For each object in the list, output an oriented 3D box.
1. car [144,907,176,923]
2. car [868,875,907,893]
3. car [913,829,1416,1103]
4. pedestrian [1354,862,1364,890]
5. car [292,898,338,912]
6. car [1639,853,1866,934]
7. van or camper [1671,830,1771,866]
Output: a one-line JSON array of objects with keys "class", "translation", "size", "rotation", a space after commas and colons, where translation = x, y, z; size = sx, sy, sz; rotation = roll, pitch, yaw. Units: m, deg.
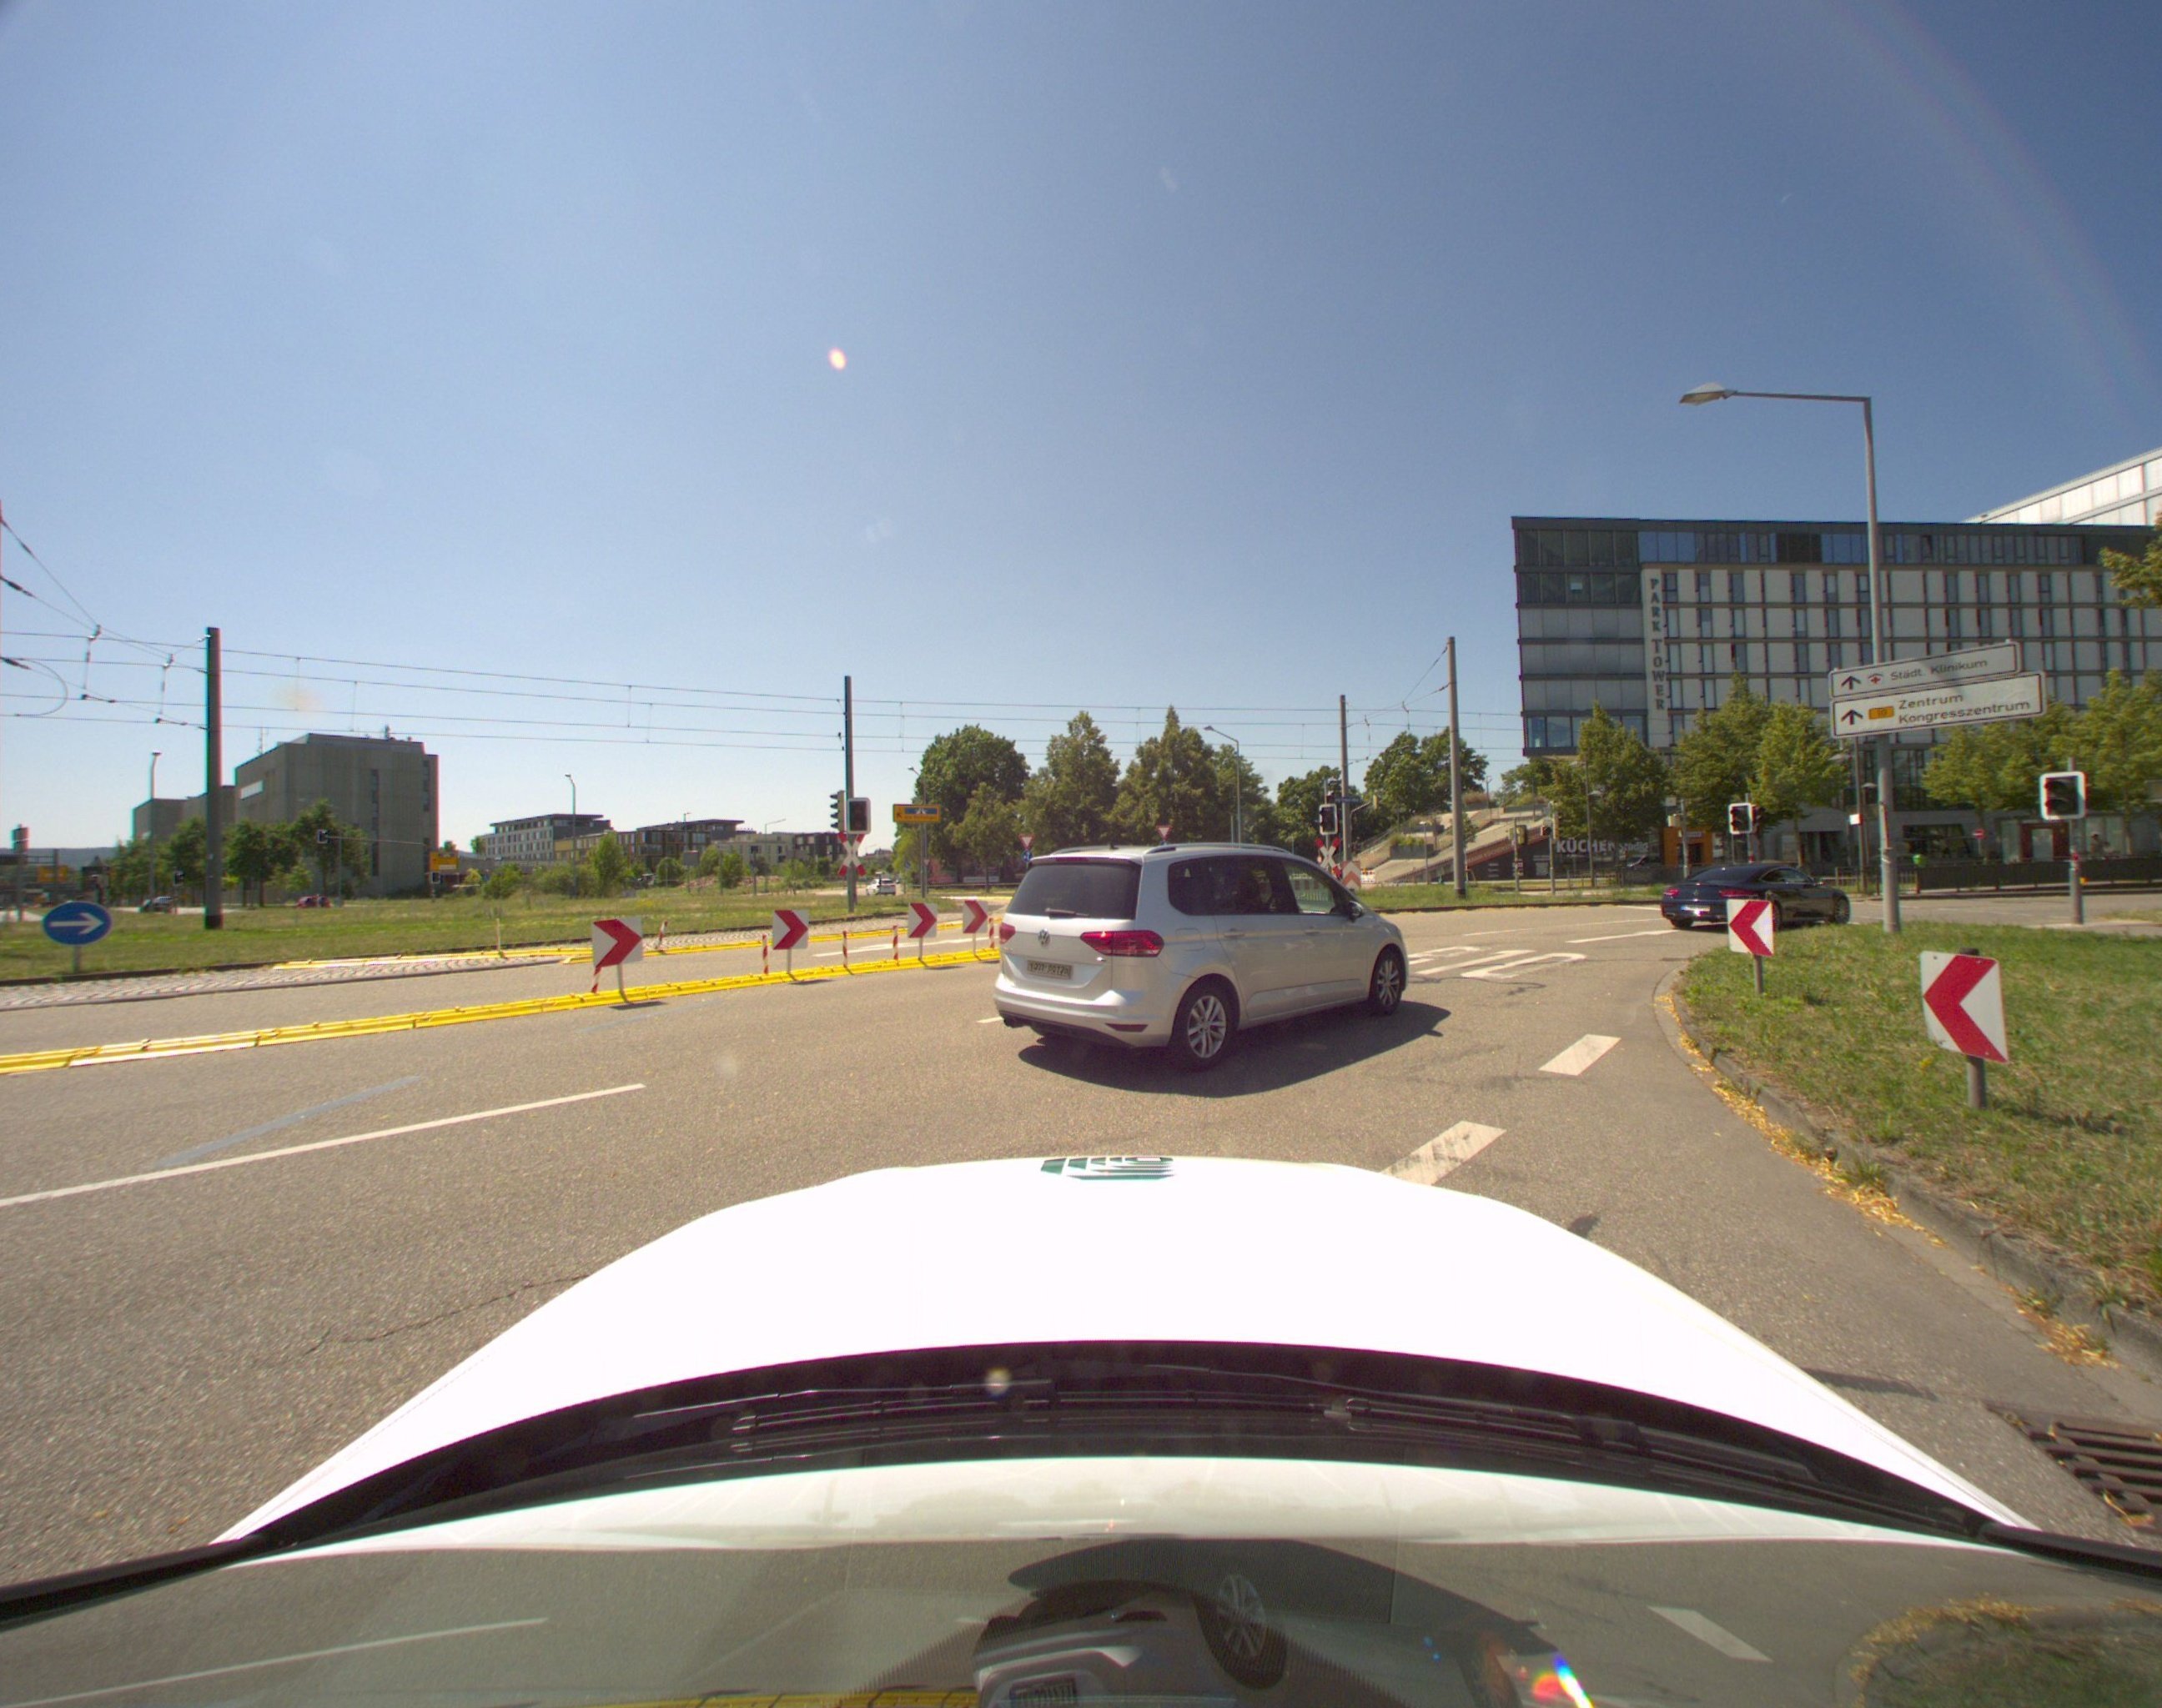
[{"class": "car", "translation": [-91.510, 6.037, 80.899], "size": [3.356, 1.408, 1.771], "rotation": [-2, -1, 36]}, {"class": "car", "translation": [-16.488, 2.537, 69.206], "size": [2.007, 1.486, 4.322], "rotation": [-1, -1, -32]}, {"class": "car", "translation": [1.019, 0.663, 7.135], "size": [4.630, 1.649, 1.784], "rotation": [-1, 0, -43]}, {"class": "pedestrian", "translation": [16.952, 1.350, 49.721], "size": [0.447, 1.739, 0.317], "rotation": [-1, -1, -6]}, {"class": "car", "translation": [-64.659, 4.339, 68.769], "size": [3.478, 1.090, 1.506], "rotation": [-2, -1, 23]}, {"class": "car", "translation": [14.236, 0.760, 17.224], "size": [4.965, 1.436, 1.841], "rotation": [-1, -1, -27]}, {"class": "van or camper", "translation": [52.692, -0.459, 67.114], "size": [6.760, 2.822, 2.377], "rotation": [-1, -1, -8]}]
